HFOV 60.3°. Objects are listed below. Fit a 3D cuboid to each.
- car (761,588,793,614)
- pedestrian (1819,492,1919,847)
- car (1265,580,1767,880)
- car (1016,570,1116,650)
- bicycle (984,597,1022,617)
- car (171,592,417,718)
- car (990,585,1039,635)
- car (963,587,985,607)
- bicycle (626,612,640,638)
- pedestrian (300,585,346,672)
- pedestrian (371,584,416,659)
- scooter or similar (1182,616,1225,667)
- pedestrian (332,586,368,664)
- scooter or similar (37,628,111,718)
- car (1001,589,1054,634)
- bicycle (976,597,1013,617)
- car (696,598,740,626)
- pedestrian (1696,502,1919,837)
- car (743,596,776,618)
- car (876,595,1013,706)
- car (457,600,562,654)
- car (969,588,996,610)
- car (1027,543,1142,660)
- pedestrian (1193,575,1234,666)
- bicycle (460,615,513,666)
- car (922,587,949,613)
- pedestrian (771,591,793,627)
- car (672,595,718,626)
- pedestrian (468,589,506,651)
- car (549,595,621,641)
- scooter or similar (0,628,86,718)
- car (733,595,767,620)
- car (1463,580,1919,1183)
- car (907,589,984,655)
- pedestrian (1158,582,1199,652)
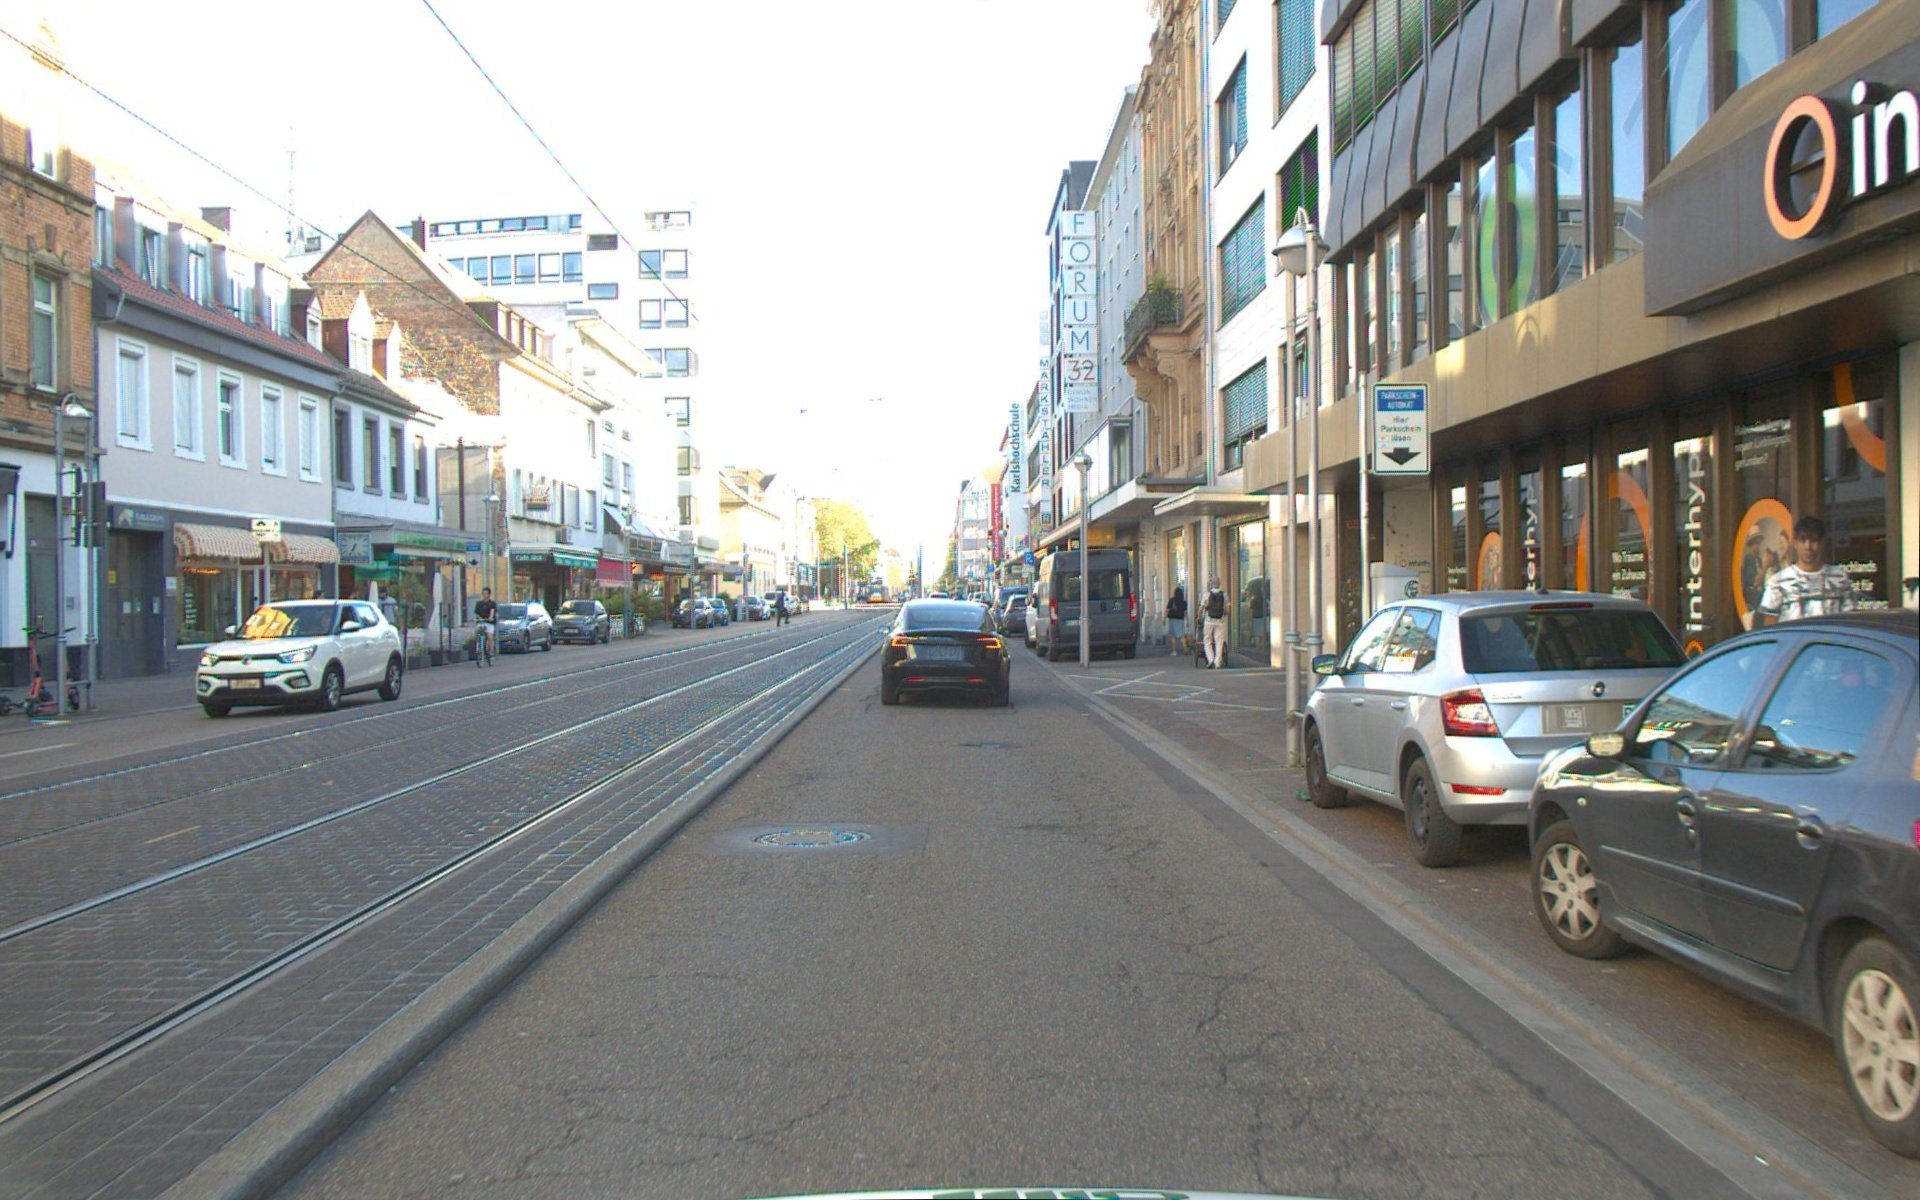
[{"bbox_3d":[-14.423,0.044,130.542,1.968,1.995,4.723,-1,0,-1],"label":"car"},{"bbox_3d":[5.198,0.341,8.731,0.763,1.782,1.032,-1,0,0],"label":"pedestrian"},{"bbox_3d":[3.261,0.657,10.655,1.710,1.487,4.295,-2,0,-1],"label":"car"},{"bbox_3d":[2.895,0.246,46.194,2.116,1.959,4.614,-4,1,-4],"label":"car"},{"bbox_3d":[2.529,0.394,97.367,2.116,1.116,0.686,-1,0,-3],"label":"bicycle"},{"bbox_3d":[-9.686,0.732,24.438,1.851,1.622,4.262,-3,0,0],"label":"car"},{"bbox_3d":[2.152,0.367,66.174,1.784,1.903,3.753,-1,1,0],"label":"car"},{"bbox_3d":[1.309,-0.253,155.552,1.953,1.784,3.999,-1,0,-1],"label":"car"},{"bbox_3d":[-13.185,1.009,66.641,0.363,1.019,1.596,-1,0,-19],"label":"bicycle"},{"bbox_3d":[-13.508,0.597,35.089,0.600,1.806,0.719,-1,0,12],"label":"pedestrian"},{"bbox_3d":[-13.970,0.524,40.807,0.868,1.806,0.688,-1,0,-2],"label":"pedestrian"},{"bbox_3d":[4.890,0.825,33.278,0.581,0.952,1.298,-3,0,-2],"label":"scooter or similar"},{"bbox_3d":[-14.721,0.608,39.927,0.644,1.855,0.642,-1,0,-6],"label":"pedestrian"},{"bbox_3d":[-12.800,1.032,23.923,0.357,1.223,1.476,1,0,-4],"label":"scooter or similar"},{"bbox_3d":[2.418,0.399,60.039,1.716,1.525,3.753,-2,1,0],"label":"car"},{"bbox_3d":[2.057,0.416,98.245,2.116,1.116,0.686,-1,0,-3],"label":"bicycle"},{"bbox_3d":[-13.713,0.657,93.991,1.733,1.534,3.862,-1,0,3],"label":"car"},{"bbox_3d":[5.161,0.393,9.989,0.904,1.874,0.999,-3,0,0],"label":"pedestrian"},{"bbox_3d":[-14.177,0.482,117.166,1.733,1.534,3.972,-1,0,1],"label":"car"},{"bbox_3d":[-0.218,0.674,24.552,1.831,1.452,4.364,-1,1,0],"label":"car"},{"bbox_3d":[-13.534,0.815,49.961,1.953,1.558,4.755,0,-1,-1],"label":"car"},{"bbox_3d":[1.677,-0.064,127.060,1.953,1.570,3.999,-1,0,-1],"label":"car"},{"bbox_3d":[2.902,0.010,39.705,2.127,2.504,5.360,-3,0,-1],"label":"car"},{"bbox_3d":[4.964,0.392,32.436,0.545,1.744,0.954,-3,0,-2],"label":"pedestrian"},{"bbox_3d":[-11.394,0.960,39.825,0.566,1.135,1.954,-1,0,4],"label":"bicycle"},{"bbox_3d":[-1.870,-0.024,127.818,2.042,1.903,3.753,-1,1,0],"label":"car"},{"bbox_3d":[-9.270,0.470,86.193,0.757,1.881,0.827,-1,0,29],"label":"pedestrian"},{"bbox_3d":[-14.033,0.545,87.726,1.733,1.534,3.864,-1,0,0],"label":"car"},{"bbox_3d":[-11.387,0.477,39.832,0.611,1.469,0.874,-1,-1,4],"label":"pedestrian"},{"bbox_3d":[-13.509,0.631,59.767,1.641,1.573,3.744,1,0,1],"label":"car"},{"bbox_3d":[-13.278,1.035,23.911,0.568,1.223,1.476,1,0,-4],"label":"scooter or similar"},{"bbox_3d":[-14.124,0.465,111.321,1.682,1.599,3.850,-1,0,1],"label":"car"},{"bbox_3d":[3.358,0.698,5.949,1.810,1.487,4.303,-2,0,1],"label":"car"},{"bbox_3d":[-0.345,0.511,39.556,1.726,1.443,4.353,-1,0,-1],"label":"car"},{"bbox_3d":[5.116,0.396,38.745,0.753,1.570,0.804,-3,0,-1],"label":"pedestrian"}]
